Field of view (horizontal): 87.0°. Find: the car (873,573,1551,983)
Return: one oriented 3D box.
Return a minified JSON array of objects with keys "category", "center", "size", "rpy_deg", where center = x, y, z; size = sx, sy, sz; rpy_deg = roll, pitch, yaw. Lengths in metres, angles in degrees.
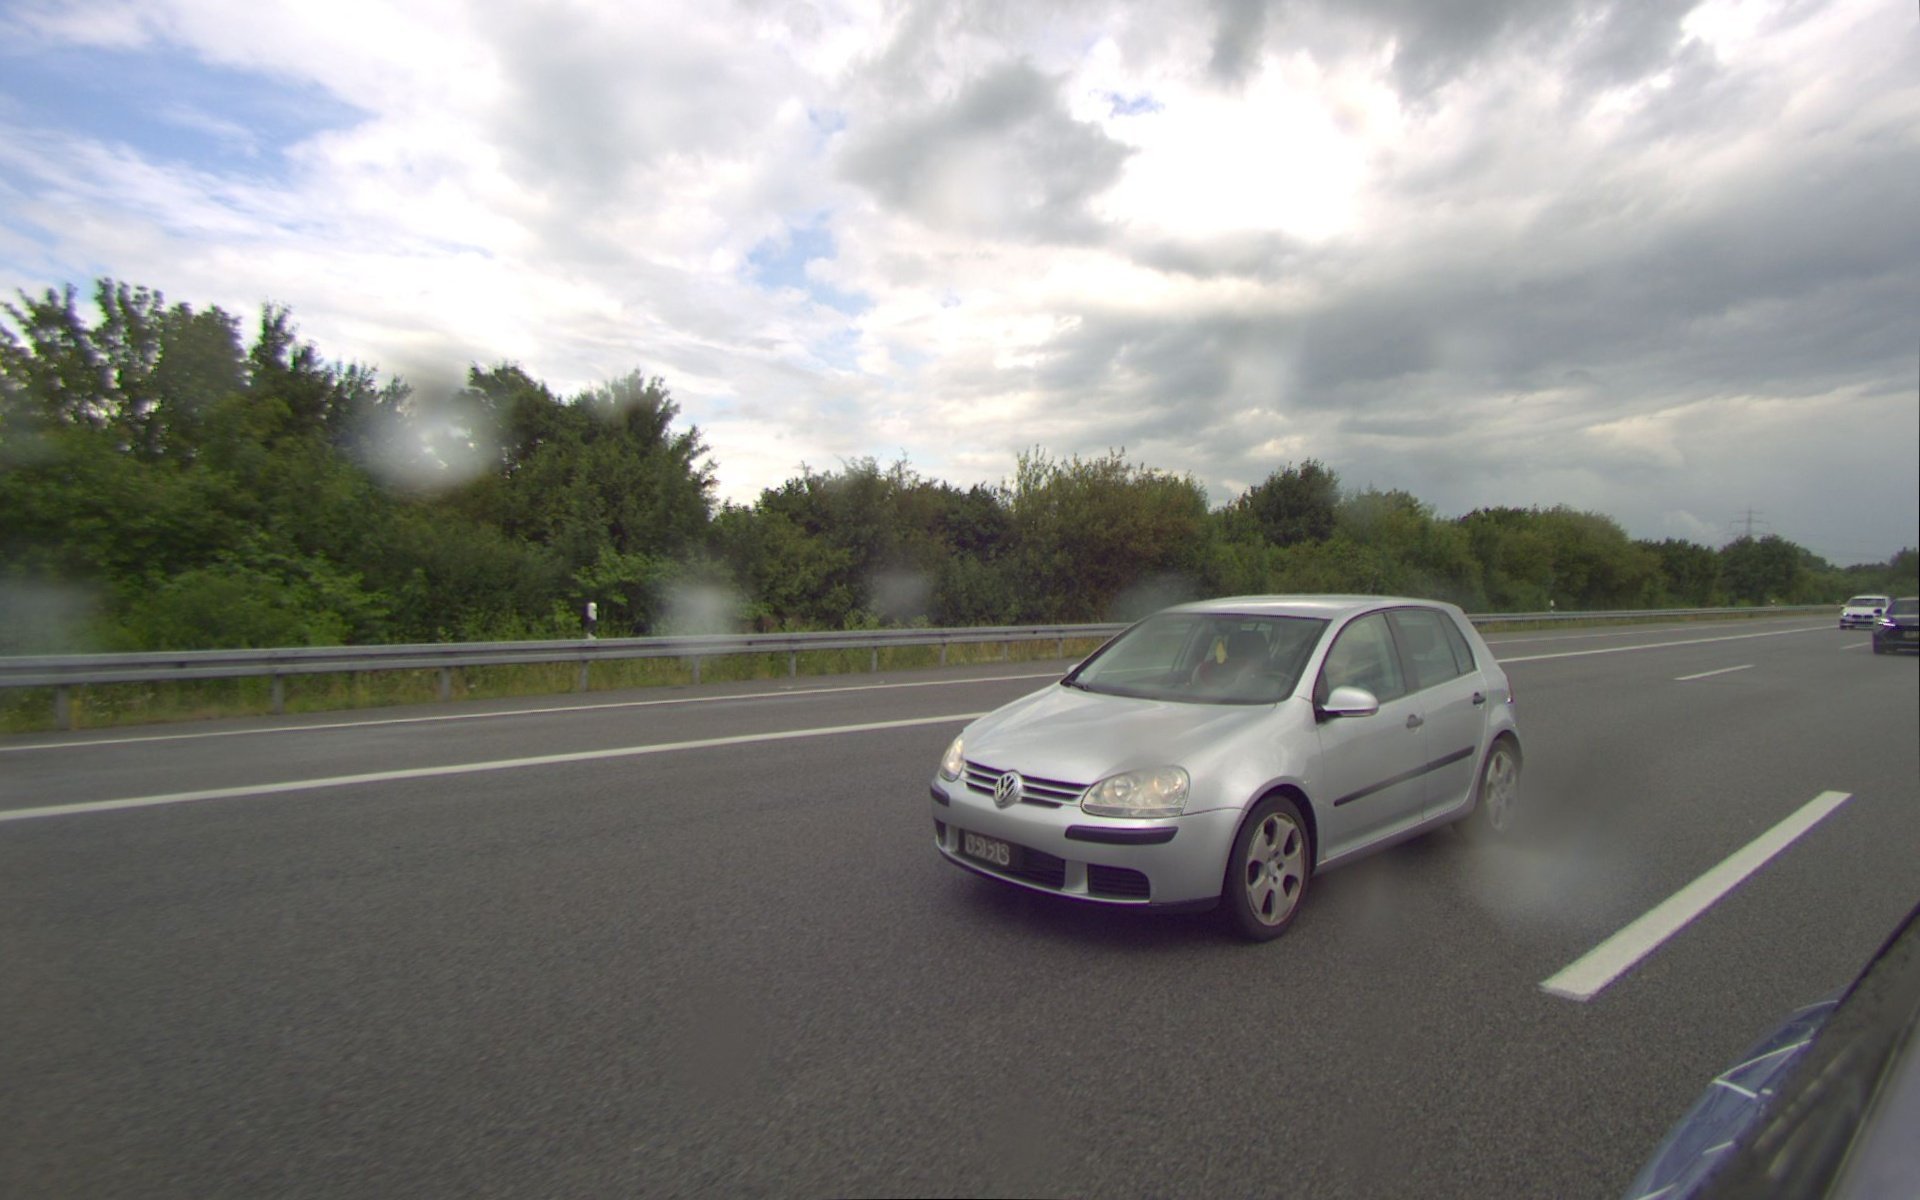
[{"category":"car","center":[1.636,0.638,5.697],"size":[3.968,1.495,1.798],"rpy_deg":[0,1,-42]}]

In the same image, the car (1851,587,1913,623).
[{"category":"car","center":[43.874,0.212,48.135],"size":[4.616,1.619,1.812],"rpy_deg":[0,1,-43]}]

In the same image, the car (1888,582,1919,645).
[{"category":"car","center":[26.697,0.365,27.546],"size":[4.520,1.633,1.783],"rpy_deg":[0,1,-43]}]
